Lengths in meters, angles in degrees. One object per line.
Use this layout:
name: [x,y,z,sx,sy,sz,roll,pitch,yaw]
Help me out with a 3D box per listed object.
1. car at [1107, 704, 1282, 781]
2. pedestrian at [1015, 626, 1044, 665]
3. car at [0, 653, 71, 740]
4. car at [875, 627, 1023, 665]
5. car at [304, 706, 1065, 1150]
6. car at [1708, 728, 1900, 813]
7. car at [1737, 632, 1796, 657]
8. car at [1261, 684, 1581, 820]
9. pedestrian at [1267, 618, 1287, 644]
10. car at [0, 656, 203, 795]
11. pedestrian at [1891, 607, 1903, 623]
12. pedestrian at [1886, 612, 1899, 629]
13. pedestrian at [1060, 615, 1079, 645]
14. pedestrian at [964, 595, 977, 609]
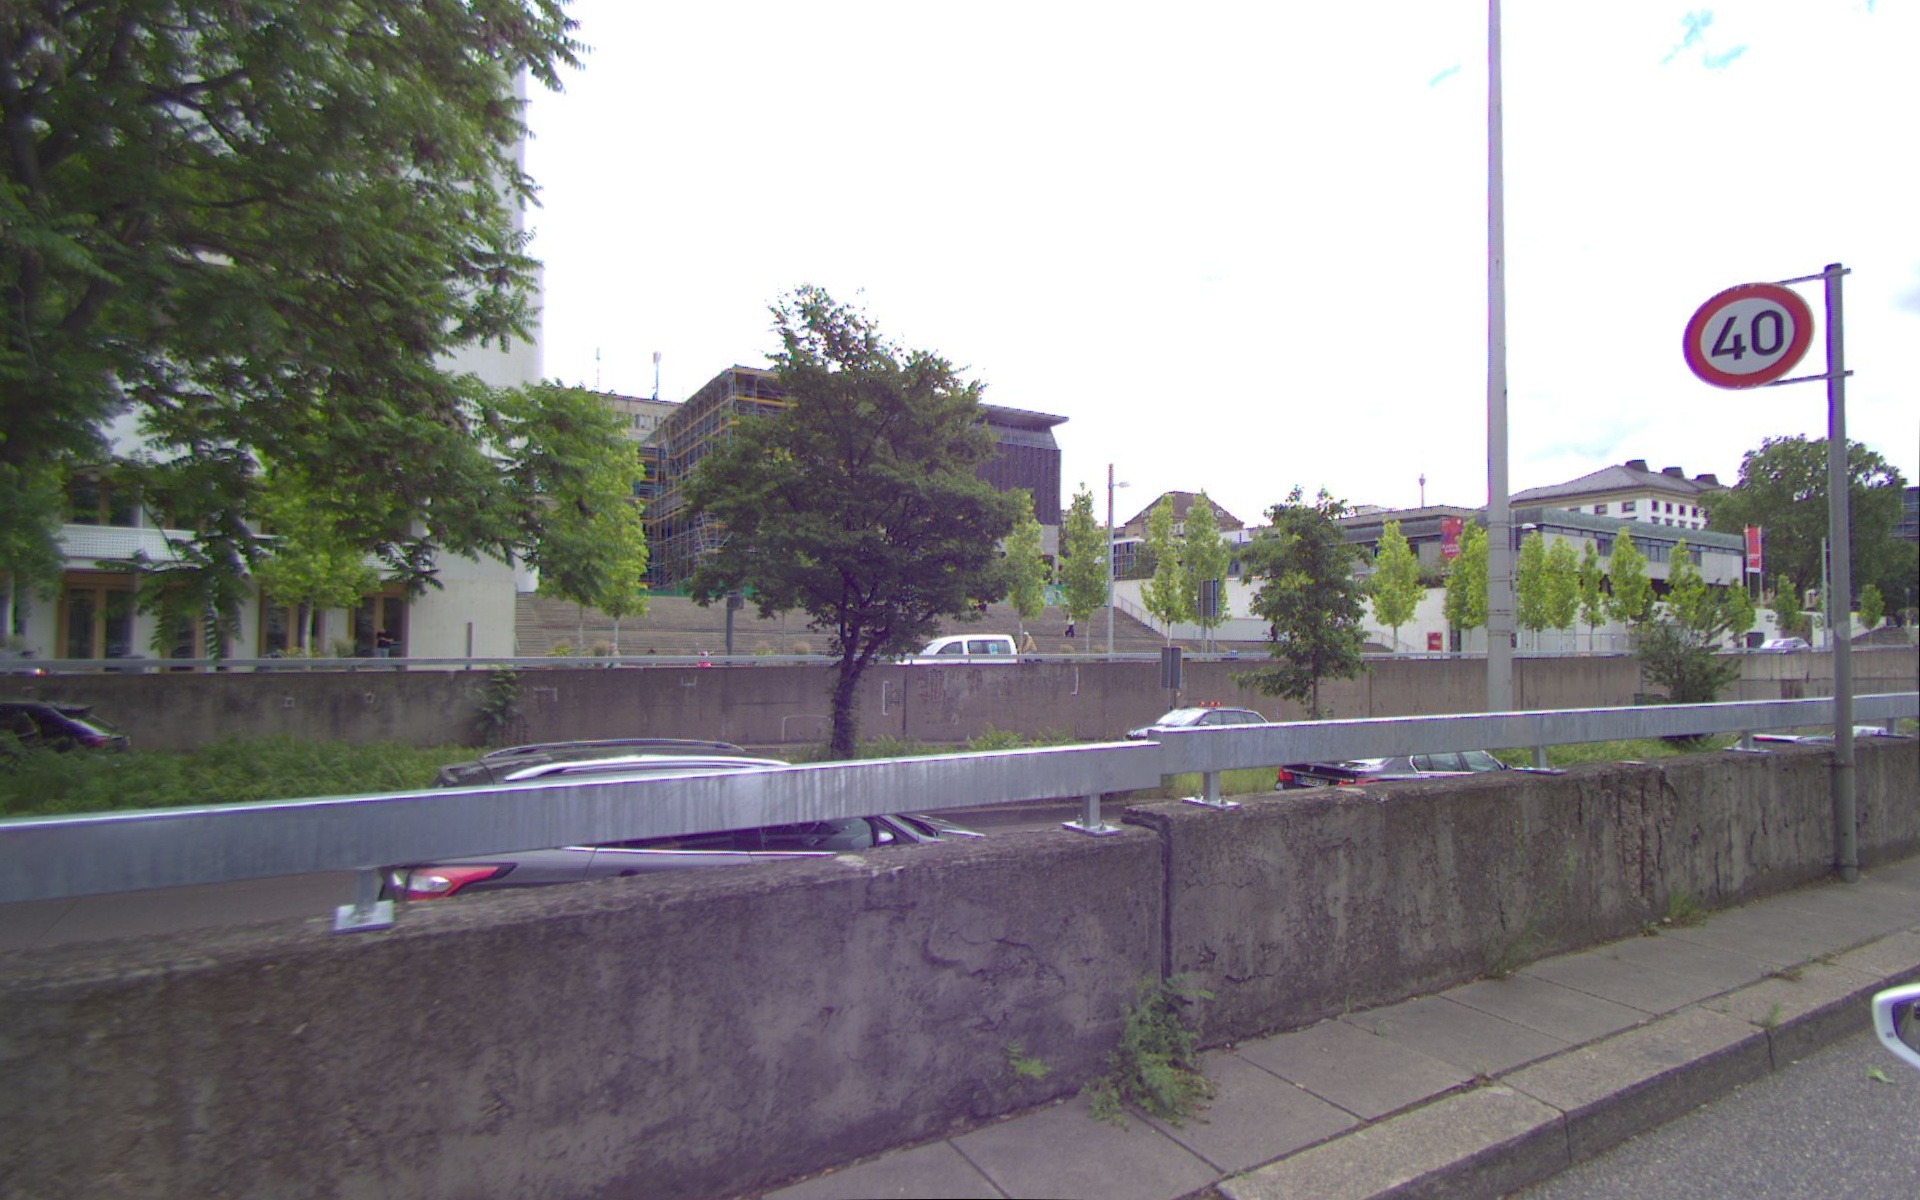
car: [6.171,3.657,26.276,4.532,1.559,1.867,2,0,-34]
pedestrian: [2.982,1.935,43.192,0.993,1.662,0.731,1,-2,-30]
car: [-20.920,1.930,20.097,4.341,1.739,1.848,2,-3,-31]
car: [-0.345,1.576,34.050,4.753,1.133,1.800,2,0,-31]
car: [-1.663,1.755,6.790,4.609,1.738,1.882,1,-1,-34]
car: [19.665,3.878,23.357,4.803,1.479,1.804,2,-1,-29]
car: [49.469,2.735,61.605,3.830,1.378,1.820,2,0,-35]
car: [6.814,2.080,14.701,4.755,1.502,1.983,1,-2,-32]
pedestrian: [20.734,2.038,65.702,0.991,1.662,0.638,2,4,-30]
car: [-11.941,1.501,12.403,3.958,1.506,1.889,2,0,-34]
pedestrian: [103.620,1.696,111.078,0.629,1.751,0.694,2,0,-6]
pedestrian: [96.209,2.102,103.660,0.628,1.751,0.695,2,0,1]
pedestrian: [6.494,1.782,59.539,0.849,1.662,0.638,2,3,-30]
pedestrian: [0.637,0.121,61.351,0.649,0.883,0.533,2,0,-25]
